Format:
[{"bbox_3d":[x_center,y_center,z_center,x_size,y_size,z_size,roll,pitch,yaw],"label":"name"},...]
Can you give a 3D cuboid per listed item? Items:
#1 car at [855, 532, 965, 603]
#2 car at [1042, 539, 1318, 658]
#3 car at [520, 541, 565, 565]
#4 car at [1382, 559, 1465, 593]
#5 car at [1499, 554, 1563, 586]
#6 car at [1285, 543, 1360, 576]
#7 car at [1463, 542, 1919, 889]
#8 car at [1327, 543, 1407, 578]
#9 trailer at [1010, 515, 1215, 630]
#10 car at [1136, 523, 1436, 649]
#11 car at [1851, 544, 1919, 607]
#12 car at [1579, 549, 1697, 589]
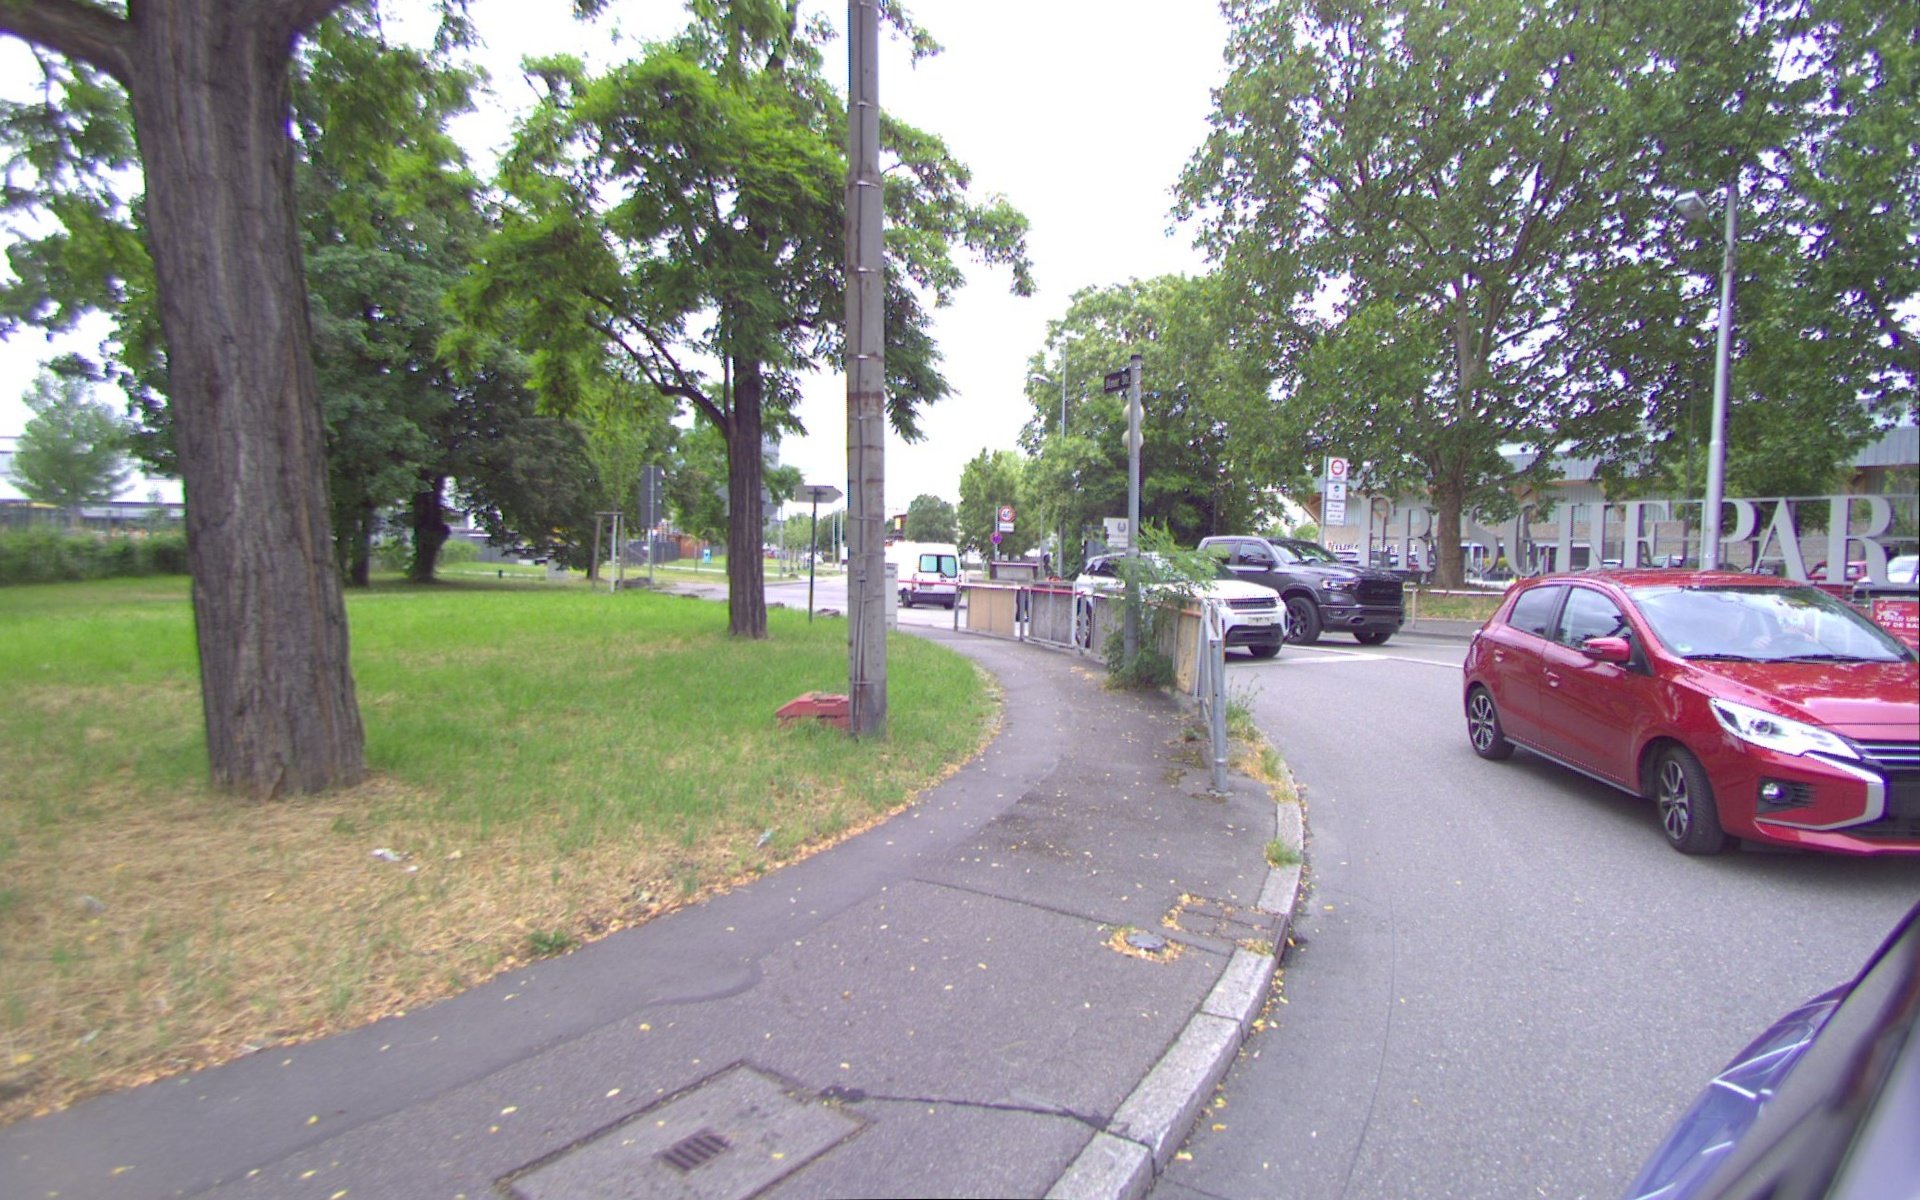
[{"bbox_3d":[-2.125,-1.193,40.249,2.147,2.573,6.494,-2,1,-24],"label":"car"},{"bbox_3d":[3.311,-0.092,15.955,1.881,1.588,4.115,-3,3,-33],"label":"car"},{"bbox_3d":[-29.671,-3.350,72.054,1.889,1.572,4.007,1,3,-5],"label":"car"},{"bbox_3d":[22.453,-1.160,48.976,3.925,1.526,1.917,-1,3,-36],"label":"car"},{"bbox_3d":[32.096,-1.697,56.831,3.505,1.705,1.753,-2,1,-35],"label":"car"},{"bbox_3d":[19.658,-2.181,54.869,3.925,1.721,1.917,-1,3,-36],"label":"car"},{"bbox_3d":[4.763,0.438,6.309,1.738,1.548,3.735,0,2,7],"label":"car"},{"bbox_3d":[20.799,-2.009,51.692,3.925,1.721,1.917,-1,3,-36],"label":"car"},{"bbox_3d":[3.454,-0.719,24.250,2.107,2.416,5.399,0,3,-26],"label":"trailer"},{"bbox_3d":[5.816,-0.433,19.129,1.911,2.003,5.885,-2,4,-24],"label":"car"},{"bbox_3d":[24.486,-0.654,25.080,4.605,1.475,2.003,-2,1,-27],"label":"car"},{"bbox_3d":[27.690,-1.269,41.292,5.147,1.449,1.940,-2,1,-30],"label":"car"}]
